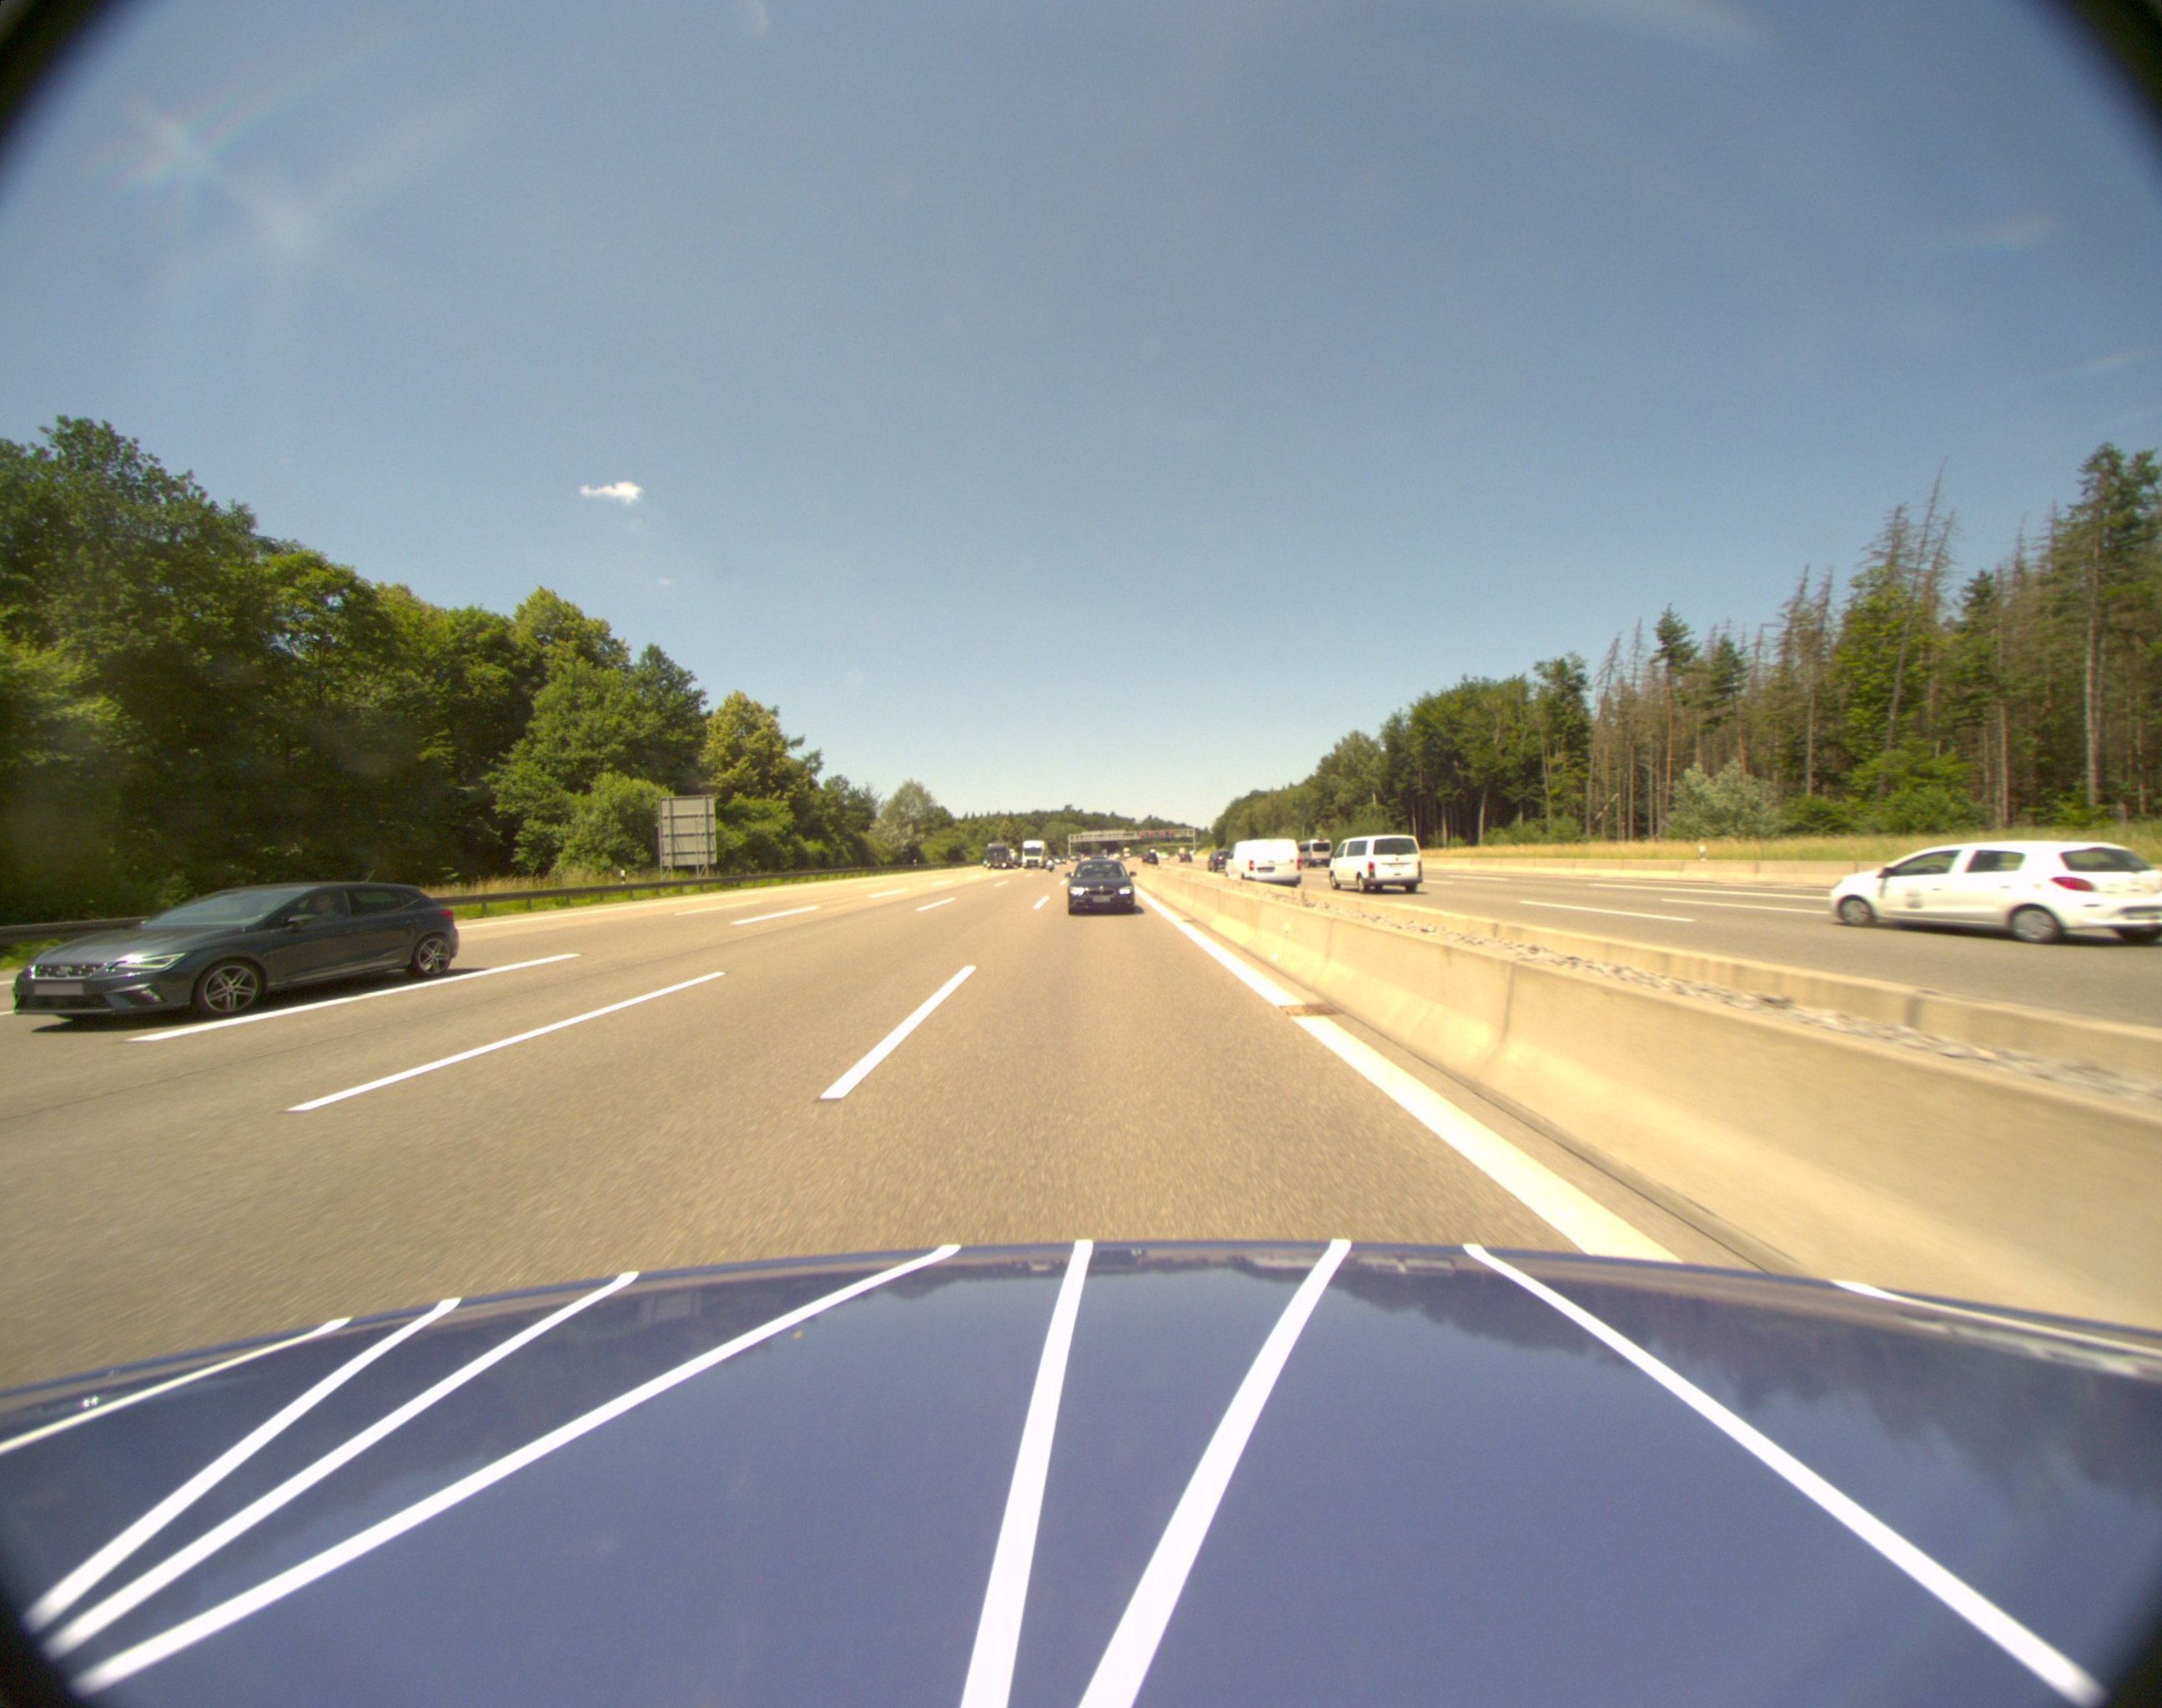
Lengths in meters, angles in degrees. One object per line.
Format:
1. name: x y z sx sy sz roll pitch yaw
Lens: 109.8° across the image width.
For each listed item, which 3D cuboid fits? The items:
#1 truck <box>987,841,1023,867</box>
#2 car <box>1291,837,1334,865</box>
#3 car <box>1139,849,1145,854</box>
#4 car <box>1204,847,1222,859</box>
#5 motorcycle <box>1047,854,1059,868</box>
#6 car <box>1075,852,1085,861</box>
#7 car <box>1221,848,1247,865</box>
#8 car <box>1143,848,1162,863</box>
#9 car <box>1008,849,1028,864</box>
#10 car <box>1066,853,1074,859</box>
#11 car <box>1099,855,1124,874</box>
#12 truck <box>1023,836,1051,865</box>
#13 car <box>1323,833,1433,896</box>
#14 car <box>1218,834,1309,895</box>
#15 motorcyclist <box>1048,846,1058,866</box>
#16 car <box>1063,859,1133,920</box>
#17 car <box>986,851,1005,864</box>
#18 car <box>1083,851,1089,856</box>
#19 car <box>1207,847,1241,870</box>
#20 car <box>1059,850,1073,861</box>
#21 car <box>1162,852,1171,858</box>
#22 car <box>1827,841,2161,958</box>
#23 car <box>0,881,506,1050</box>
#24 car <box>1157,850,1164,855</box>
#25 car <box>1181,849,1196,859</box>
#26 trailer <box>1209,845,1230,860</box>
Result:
1. truck: -8.923 -0.050 90.324 2.660 2.839 10.886 -2 1 2
2. car: 21.274 -0.280 70.001 1.953 2.398 6.345 -1 0 0
3. car: 20.711 -0.741 257.651 1.998 1.636 4.000 -2 1 2
4. car: 19.564 -0.173 112.807 1.818 1.748 5.582 -1 0 1
5. motorcycle: -2.672 0.663 72.675 0.925 1.311 2.997 -2 0 0
6. car: -0.237 0.542 166.637 1.998 1.671 4.127 -2 1 2
7. car: 14.909 0.190 74.220 1.734 1.561 4.673 -1 0 1
8. car: 8.663 0.171 92.442 1.854 1.668 5.044 -1 0 1
9. car: -8.273 0.269 100.673 1.998 1.885 4.870 -2 1 3
10. car: -2.805 0.532 192.884 1.649 1.346 4.001 -1 0 3
11. car: 2.473 0.827 62.003 1.834 1.454 4.203 -2 1 0
12. truck: -5.120 -0.431 89.747 2.428 3.237 8.690 -2 1 2
13. car: 10.506 0.305 27.378 1.998 2.002 5.129 -2 1 1
14. car: 6.689 0.339 28.536 2.082 2.032 5.711 -1 0 1
15. motorcyclist: -2.683 0.180 72.387 0.914 1.926 0.905 -2 1 -2
16. car: 0.468 0.912 21.311 1.741 1.450 4.542 -1 0 1
17. car: -11.877 0.436 105.851 1.998 1.671 4.127 -2 1 2
18. car: 1.756 -0.249 249.535 1.819 1.546 4.127 -2 1 3
19. car: 11.152 0.334 59.611 1.832 1.689 5.003 -1 0 1
20. car: -2.420 0.203 124.693 1.998 1.671 4.127 -2 1 2
21. car: 20.558 0.257 183.149 1.734 1.455 4.783 -1 0 1
22. car: 14.308 0.579 11.760 1.809 1.477 3.810 -2 0 1
23. car: -10.168 1.203 9.933 1.647 1.430 4.635 -2 1 1
24. car: 25.681 -0.416 244.565 1.998 1.391 3.867 -2 0 2
25. car: 17.179 -0.044 121.655 1.734 1.455 4.576 -1 0 1
26. trailer: 19.445 -0.268 106.894 1.859 2.039 6.152 -1 0 1
